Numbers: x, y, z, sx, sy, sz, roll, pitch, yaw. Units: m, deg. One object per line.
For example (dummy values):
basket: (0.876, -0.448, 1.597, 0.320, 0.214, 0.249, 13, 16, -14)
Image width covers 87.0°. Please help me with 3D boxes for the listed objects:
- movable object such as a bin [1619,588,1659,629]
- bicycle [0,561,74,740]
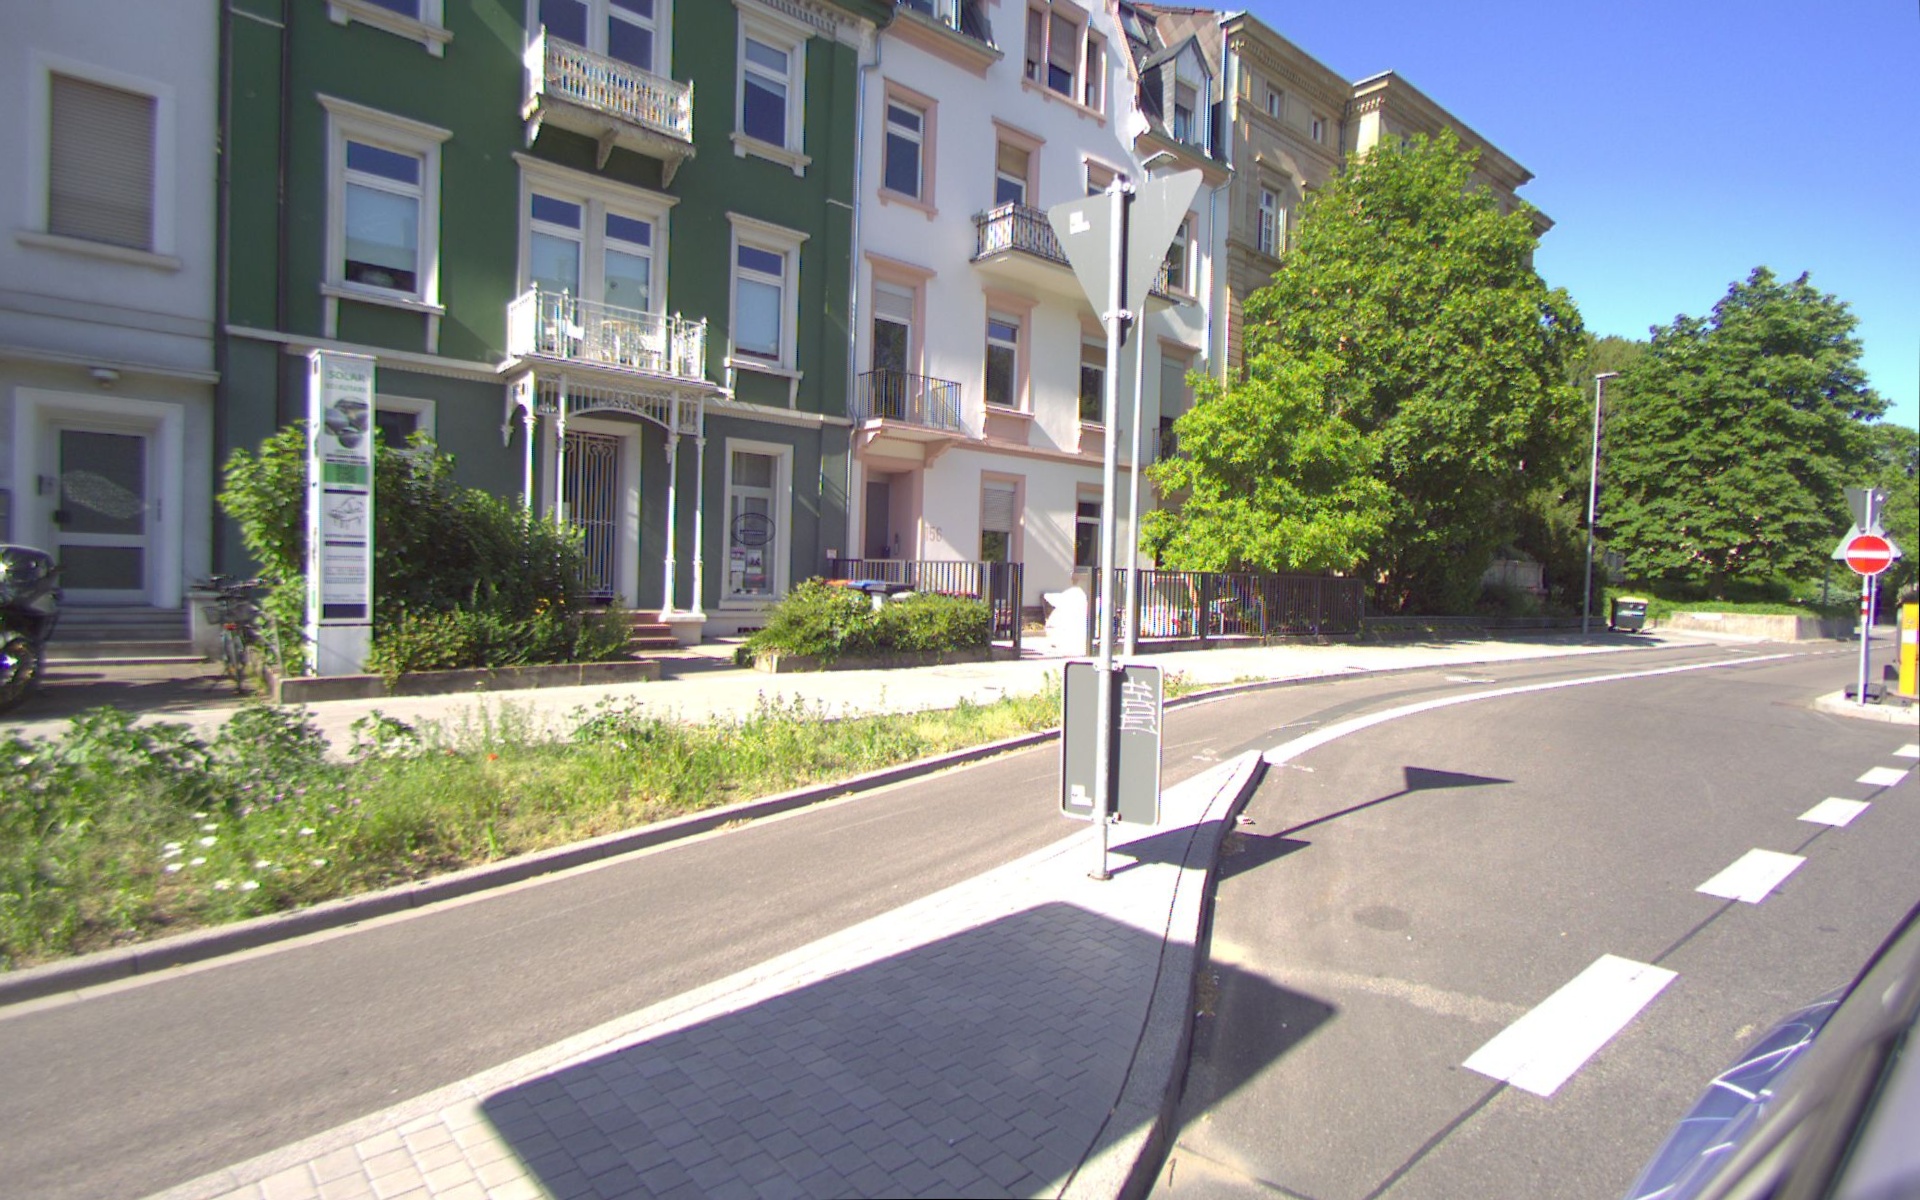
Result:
movable object such as a bin: (25.122, 0.294, 37.465, 0.965, 1.415, 1.276, 4, 2, 27)
bicycle: (-8.756, 0.399, 9.502, 0.627, 1.503, 2.259, 1, 1, -41)
